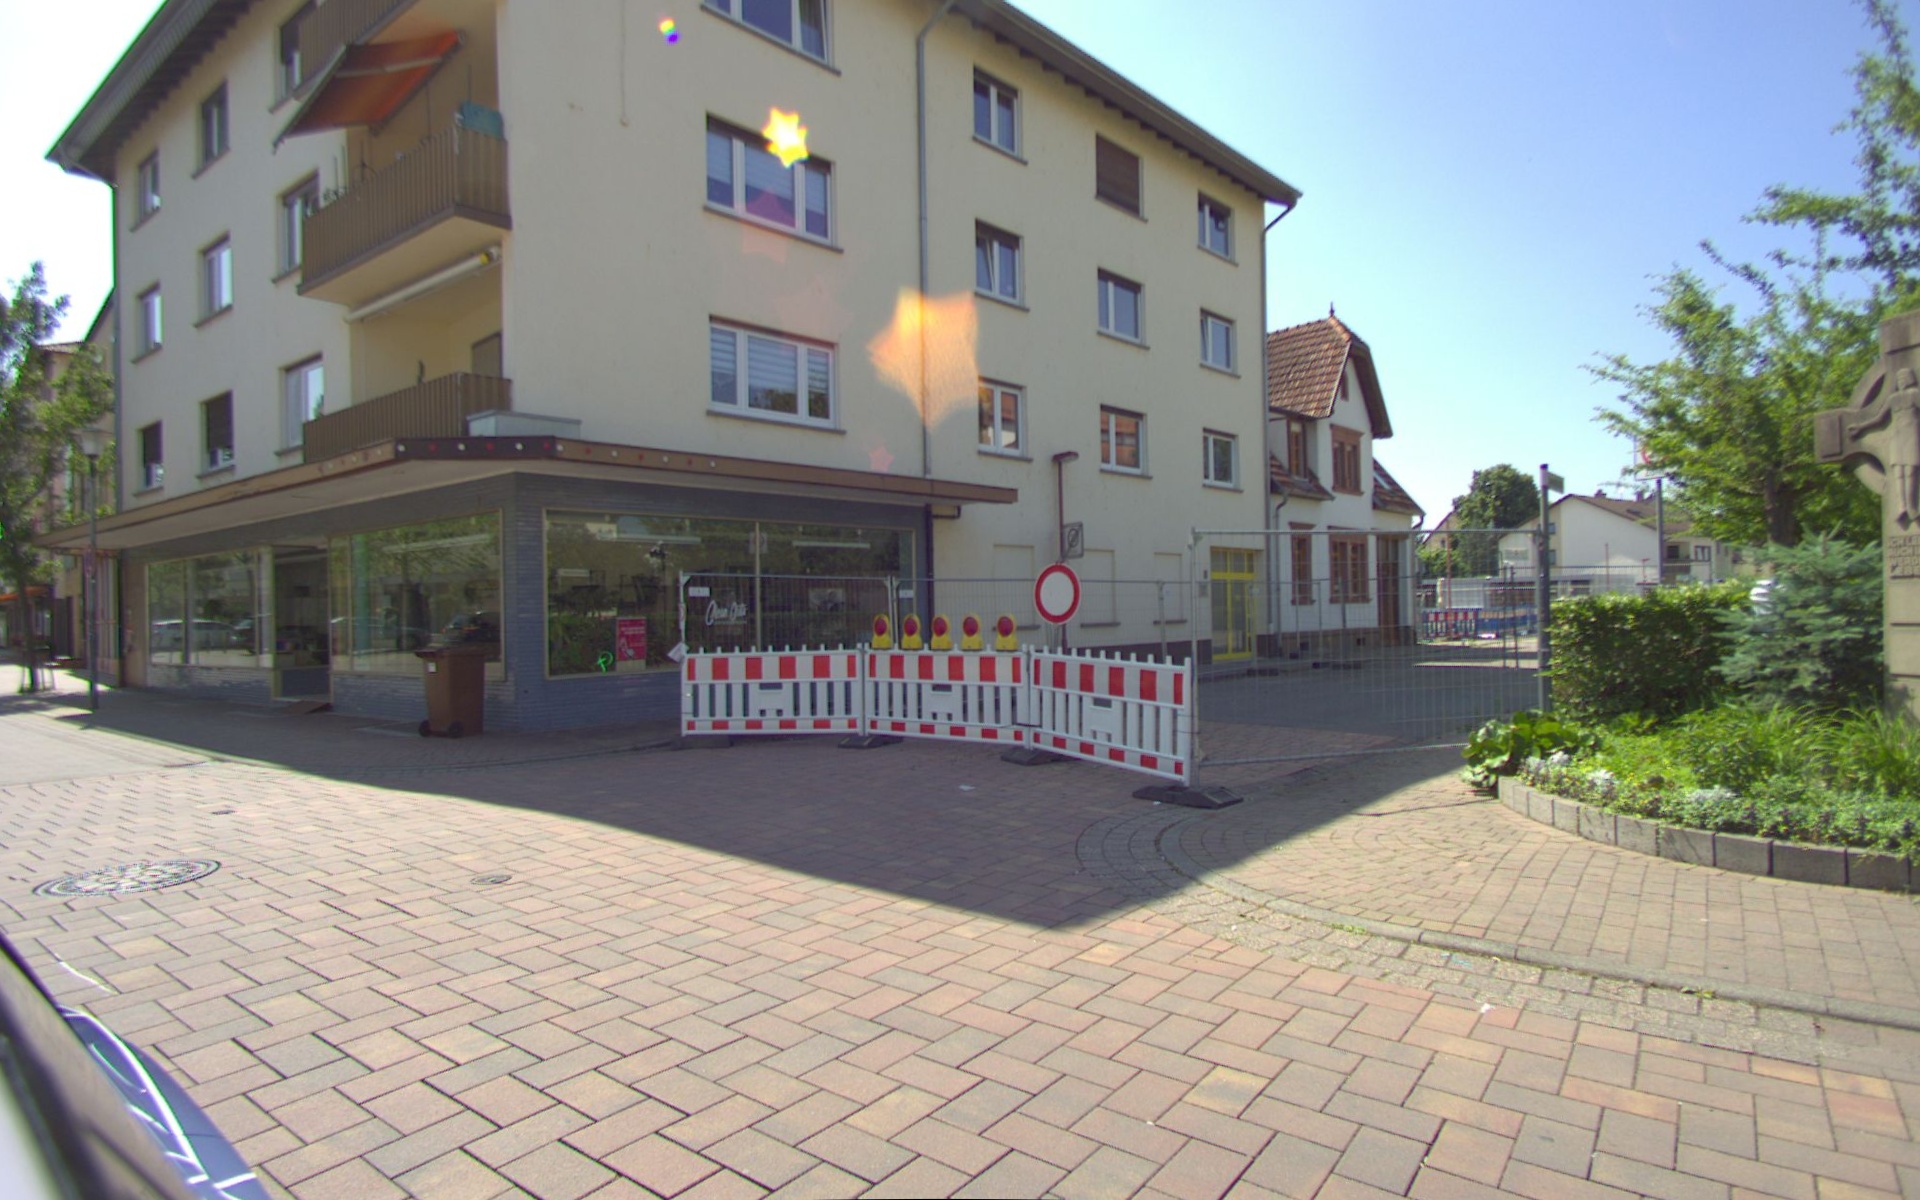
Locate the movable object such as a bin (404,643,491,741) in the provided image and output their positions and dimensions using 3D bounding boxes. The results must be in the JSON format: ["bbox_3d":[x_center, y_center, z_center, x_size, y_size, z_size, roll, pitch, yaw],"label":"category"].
[{"bbox_3d":[-6.027,1.066,11.918,0.661,1.078,0.650,-1,0,31],"label":"movable object such as a bin"}]
